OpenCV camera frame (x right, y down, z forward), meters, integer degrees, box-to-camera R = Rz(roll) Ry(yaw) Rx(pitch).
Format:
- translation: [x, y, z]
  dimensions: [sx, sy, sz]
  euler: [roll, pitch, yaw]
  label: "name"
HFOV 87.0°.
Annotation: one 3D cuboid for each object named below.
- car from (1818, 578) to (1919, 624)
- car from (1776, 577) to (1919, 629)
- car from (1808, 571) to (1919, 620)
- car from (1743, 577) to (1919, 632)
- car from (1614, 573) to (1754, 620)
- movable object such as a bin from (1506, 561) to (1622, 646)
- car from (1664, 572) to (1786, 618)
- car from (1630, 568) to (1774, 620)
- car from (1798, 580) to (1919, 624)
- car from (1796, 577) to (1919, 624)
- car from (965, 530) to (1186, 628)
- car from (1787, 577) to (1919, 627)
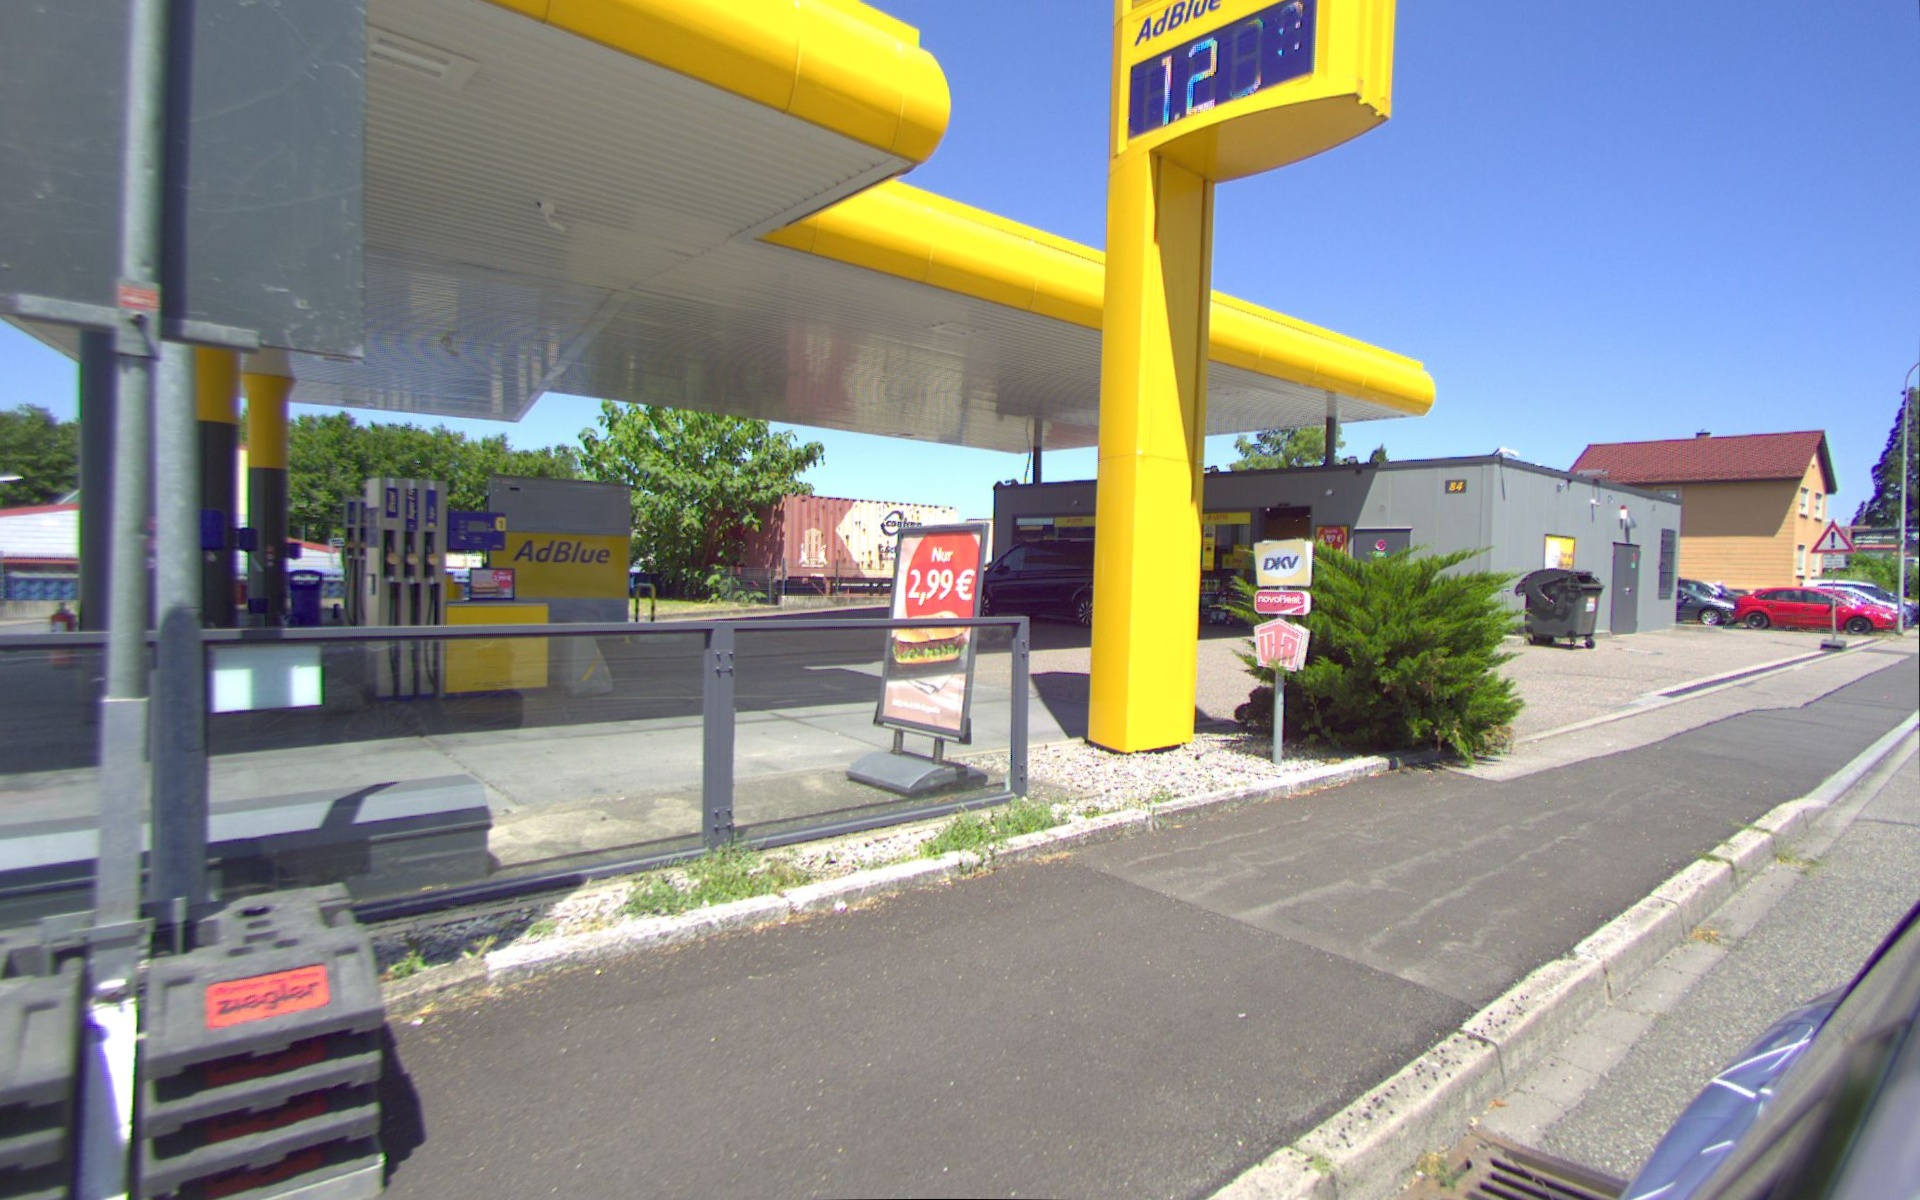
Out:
- translation: [37.418, 0.037, 41.018]
  dimensions: [1.735, 1.701, 3.878]
  euler: [0, 3, -45]
  label: "car"
- translation: [30.867, 0.078, 35.187]
  dimensions: [3.687, 1.586, 1.681]
  euler: [4, 3, 45]
  label: "car"
- translation: [38.605, -0.207, 42.780]
  dimensions: [4.133, 1.962, 1.780]
  euler: [3, 2, 43]
  label: "car"
- translation: [28.935, 0.094, 33.706]
  dimensions: [1.925, 1.553, 4.231]
  euler: [1, 3, -43]
  label: "car"
- translation: [27.367, -0.097, 38.331]
  dimensions: [1.753, 1.689, 4.043]
  euler: [0, -1, -42]
  label: "car"
- translation: [11.339, 0.037, 19.009]
  dimensions: [1.442, 1.455, 1.437]
  euler: [0, 3, -42]
  label: "movable object such as a bin"
- translation: [32.685, -0.165, 43.324]
  dimensions: [1.659, 1.862, 3.899]
  euler: [0, -1, -41]
  label: "car"
- translation: [29.205, -0.185, 39.911]
  dimensions: [1.940, 1.920, 4.341]
  euler: [0, -1, -45]
  label: "car"
- translation: [35.572, 0.056, 39.746]
  dimensions: [1.801, 1.528, 3.800]
  euler: [1, 3, -41]
  label: "car"
- translation: [34.140, -0.006, 38.274]
  dimensions: [1.615, 1.586, 3.688]
  euler: [0, 3, -44]
  label: "car"
- translation: [2.514, -0.515, 23.231]
  dimensions: [1.965, 1.999, 5.061]
  euler: [0, 2, -40]
  label: "car"
- translation: [32.521, 0.059, 36.739]
  dimensions: [3.686, 1.586, 1.722]
  euler: [4, 3, 44]
  label: "car"
